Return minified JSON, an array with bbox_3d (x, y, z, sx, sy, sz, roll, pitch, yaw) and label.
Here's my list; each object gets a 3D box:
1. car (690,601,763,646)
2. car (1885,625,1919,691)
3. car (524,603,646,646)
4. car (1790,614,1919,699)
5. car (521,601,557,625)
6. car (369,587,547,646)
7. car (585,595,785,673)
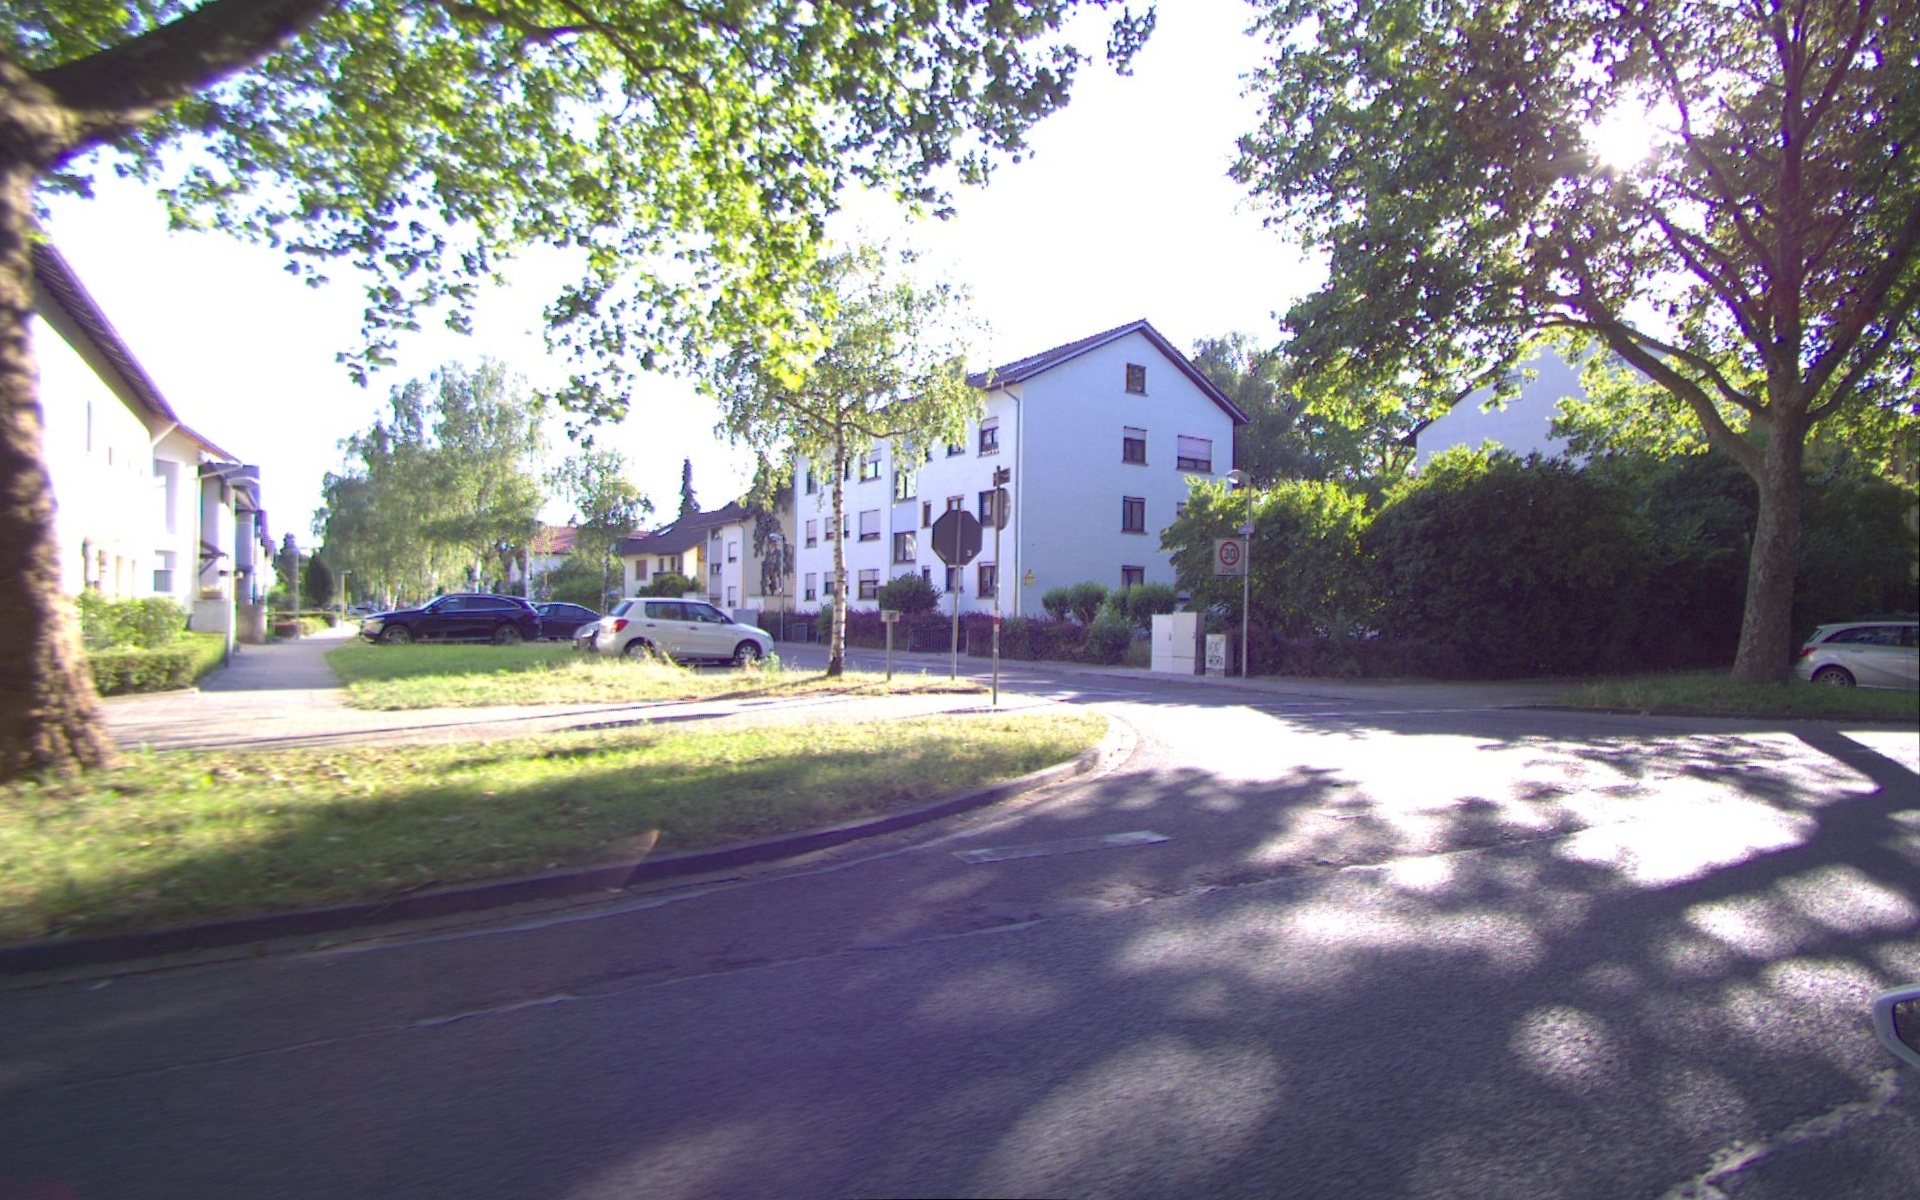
[{"bbox_3d":[-9.834,0.945,42.082,1.883,1.762,3.967,1,0,-31],"label":"car"},{"bbox_3d":[23.764,1.371,22.528,1.782,1.526,4.137,1,-1,-32],"label":"car"},{"bbox_3d":[-14.240,0.922,38.201,3.960,1.506,1.981,2,-1,-35],"label":"car"},{"bbox_3d":[19.459,1.140,19.964,1.979,1.605,4.158,1,0,-33],"label":"car"},{"bbox_3d":[-32.087,0.994,76.462,1.977,1.762,3.967,1,0,-31],"label":"car"},{"bbox_3d":[-14.558,0.475,29.187,4.418,1.596,1.981,1,0,-34],"label":"car"},{"bbox_3d":[-6.218,0.743,22.819,3.958,1.596,1.981,1,0,-34],"label":"car"}]
